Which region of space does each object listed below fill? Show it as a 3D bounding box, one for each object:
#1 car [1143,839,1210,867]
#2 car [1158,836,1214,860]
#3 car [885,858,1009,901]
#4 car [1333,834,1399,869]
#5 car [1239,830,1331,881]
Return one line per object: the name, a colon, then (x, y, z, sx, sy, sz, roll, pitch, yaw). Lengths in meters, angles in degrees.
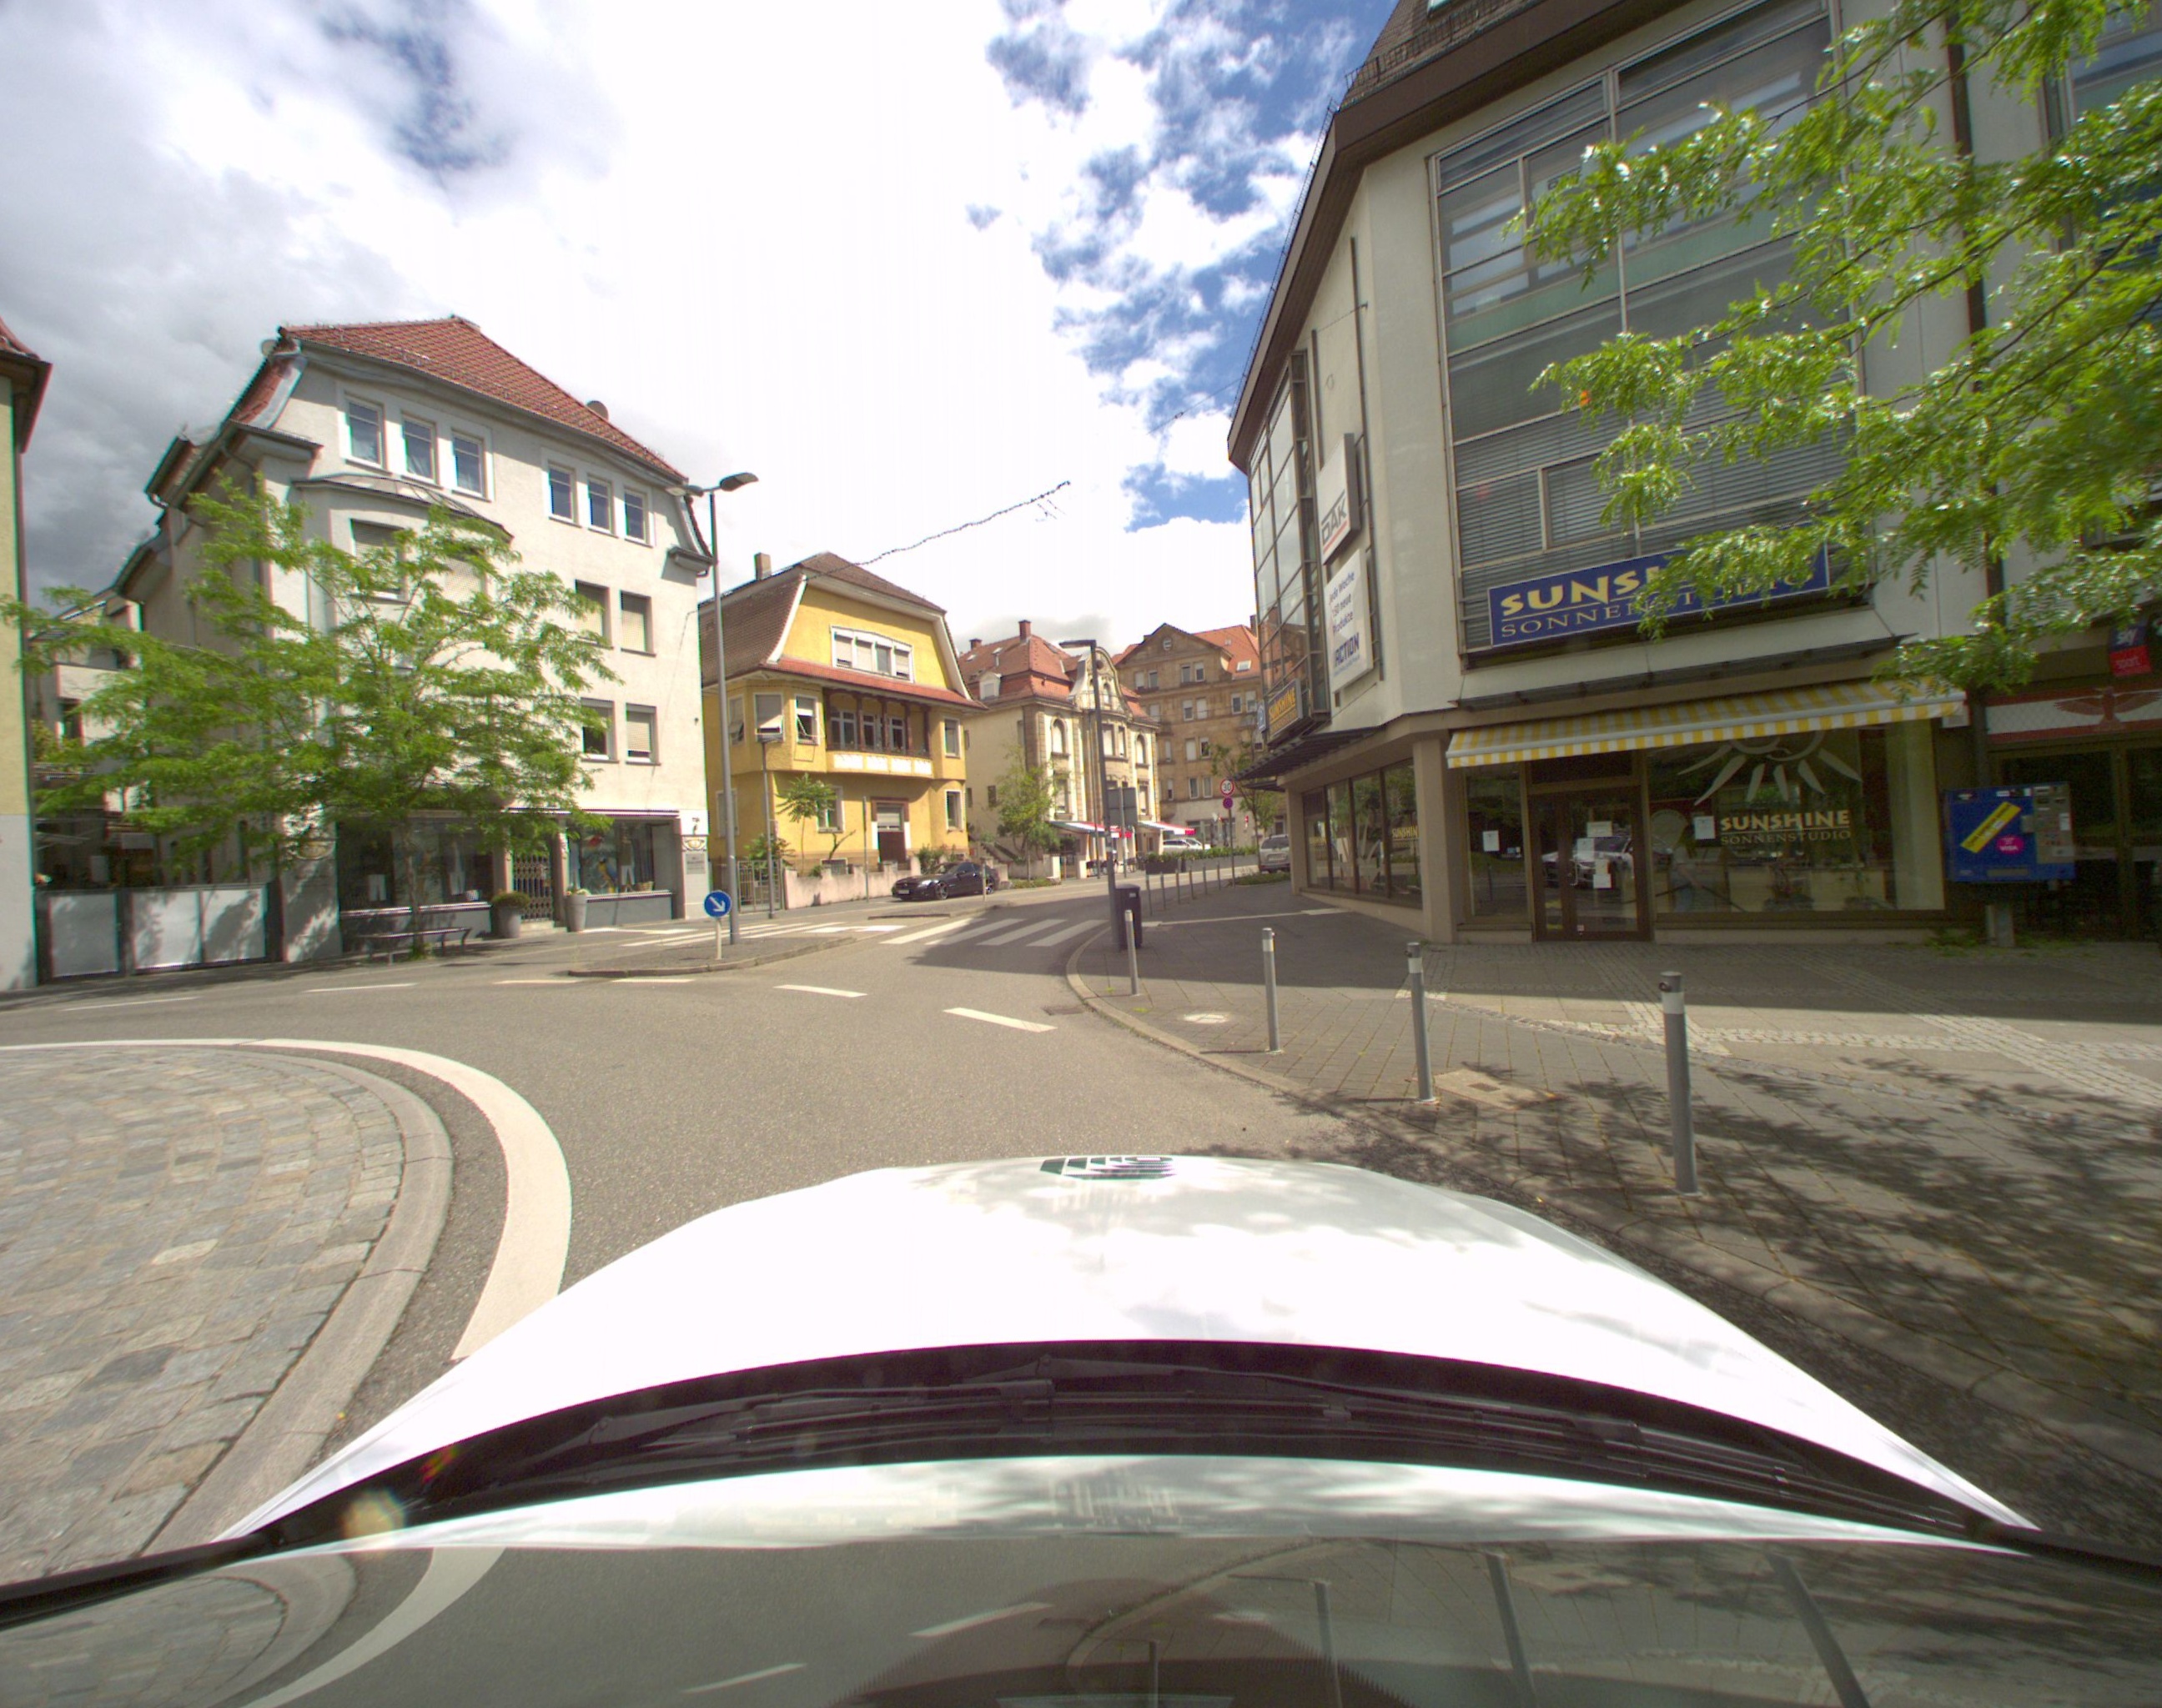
car: (6.973, -0.092, 59.434, 4.382, 1.775, 2.010, -3, 0, 19)
car: (8.403, -0.490, 65.112, 3.948, 1.662, 1.921, -3, 0, 30)
car: (-4.762, 0.886, 29.445, 1.693, 1.245, 4.440, -3, 1, 36)
car: (14.612, -0.157, 41.654, 1.806, 1.519, 4.260, -5, -1, 38)
car: (8.109, 0.026, 32.119, 1.806, 1.731, 4.260, -5, -1, 38)
